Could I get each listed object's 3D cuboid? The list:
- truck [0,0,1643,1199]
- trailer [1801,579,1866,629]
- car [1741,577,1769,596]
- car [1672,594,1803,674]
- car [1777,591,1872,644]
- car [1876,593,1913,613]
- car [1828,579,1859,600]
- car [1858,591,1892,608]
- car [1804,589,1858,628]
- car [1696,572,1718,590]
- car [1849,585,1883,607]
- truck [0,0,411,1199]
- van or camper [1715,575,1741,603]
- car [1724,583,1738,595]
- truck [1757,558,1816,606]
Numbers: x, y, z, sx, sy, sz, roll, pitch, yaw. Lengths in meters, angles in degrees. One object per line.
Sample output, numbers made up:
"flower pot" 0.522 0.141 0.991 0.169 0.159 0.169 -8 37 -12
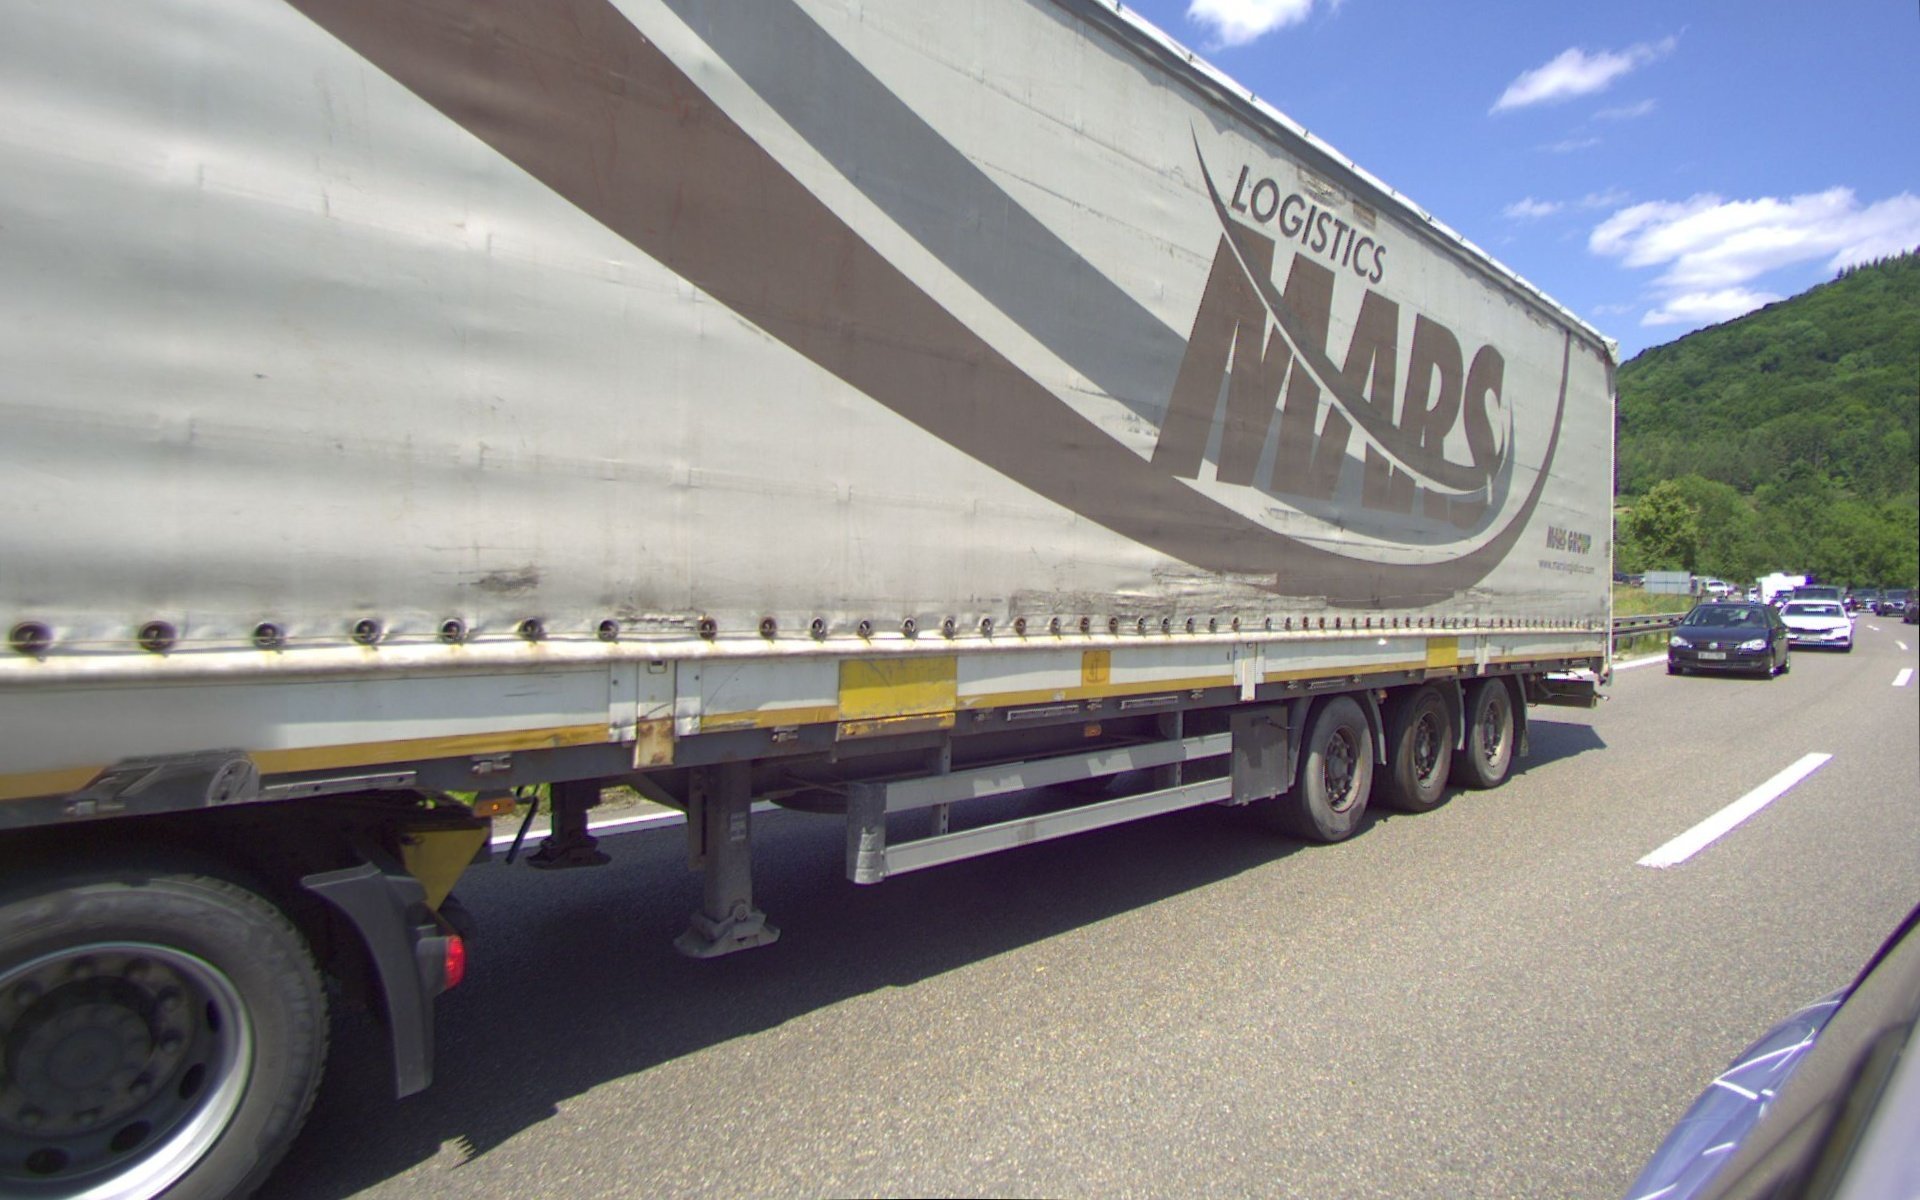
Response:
"truck" 1.004 -0.739 6.465 13.512 4.119 2.729 -1 1 -44
"trailer" 36.943 0.160 42.892 1.991 1.994 3.942 1 0 40
"car" 69.398 -1.130 88.381 1.689 1.552 3.632 -2 -1 36
"car" 15.514 0.602 20.118 1.691 1.440 3.778 0 0 44
"car" 25.286 0.461 29.572 1.903 1.448 3.662 0 0 44
"car" 55.936 0.162 60.602 1.485 1.123 3.167 0 0 40
"car" 73.758 -0.830 84.494 1.522 1.658 3.375 -2 -1 35
"car" 63.841 -0.053 70.650 1.483 1.123 3.171 0 0 37
"car" 34.436 0.306 39.980 1.485 1.400 3.681 4 3 42
"car" 88.722 -2.230 120.260 1.987 2.039 3.950 0 0 35
"car" 69.836 -0.284 78.042 1.522 1.658 3.375 -2 -1 35
"truck" -4.266 -0.664 1.442 5.658 4.119 2.722 -1 1 -43
"van or camper" 84.669 -1.211 111.659 1.897 3.065 4.816 1 1 33
"car" 94.957 -1.357 124.645 1.239 1.497 2.922 -2 -1 36
"truck" 58.517 -1.201 71.744 2.587 3.147 6.772 -2 -1 35
